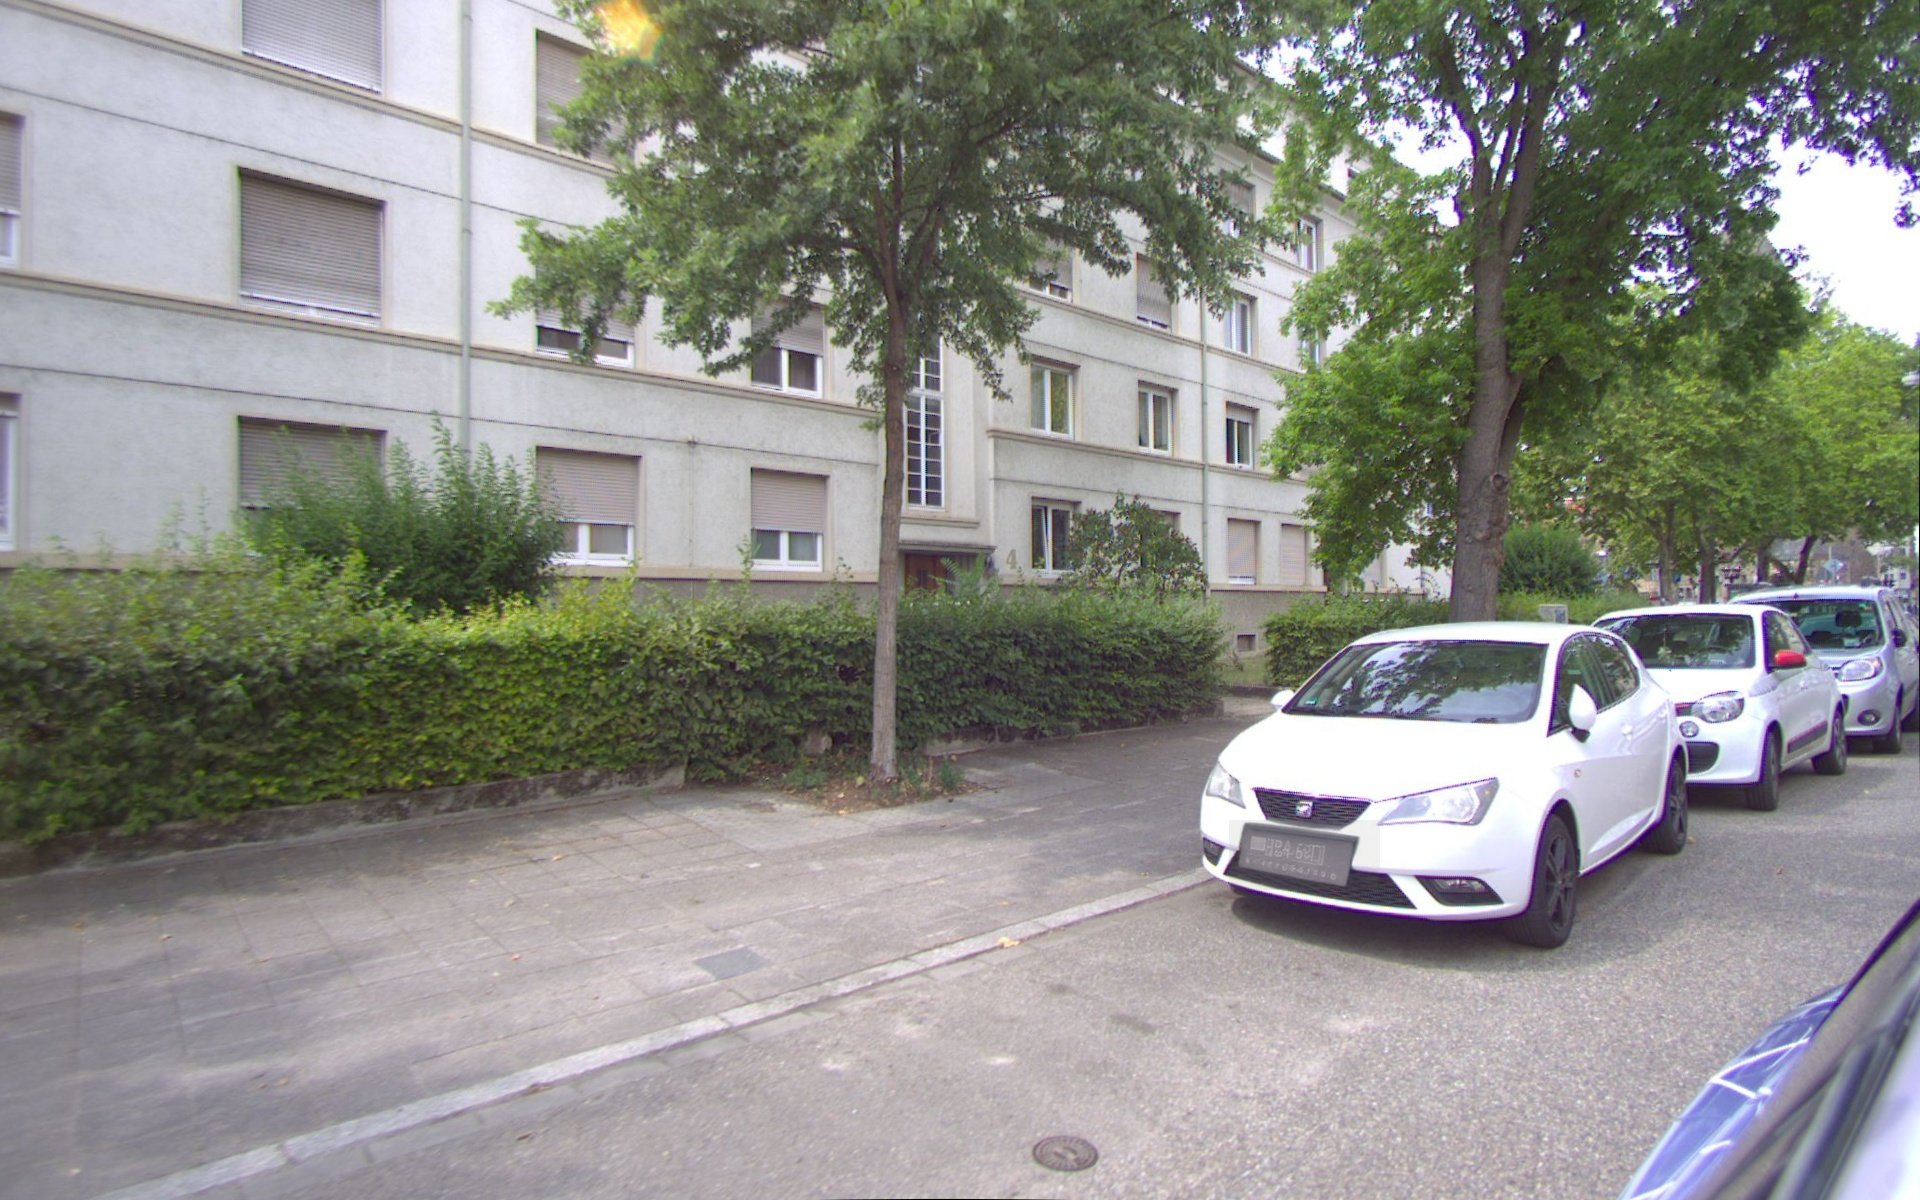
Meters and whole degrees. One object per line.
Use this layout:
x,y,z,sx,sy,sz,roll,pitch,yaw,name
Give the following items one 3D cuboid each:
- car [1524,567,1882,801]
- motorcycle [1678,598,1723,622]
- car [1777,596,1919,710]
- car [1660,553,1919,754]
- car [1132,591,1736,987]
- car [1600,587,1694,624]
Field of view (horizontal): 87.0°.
6.609,0.609,8.871,3.737,1.629,1.607,0,-3,-40,car
38.881,0.538,53.152,1.853,1.238,0.523,-1,-2,43,motorcycle
13.710,0.694,14.793,4.163,1.463,1.921,0,-2,-40,car
10.090,0.524,11.778,4.760,1.890,1.921,0,-2,-40,car
2.921,0.719,5.777,4.031,1.468,1.699,0,-2,-43,car
34.279,0.266,50.487,4.241,1.728,1.941,0,-1,-25,car
